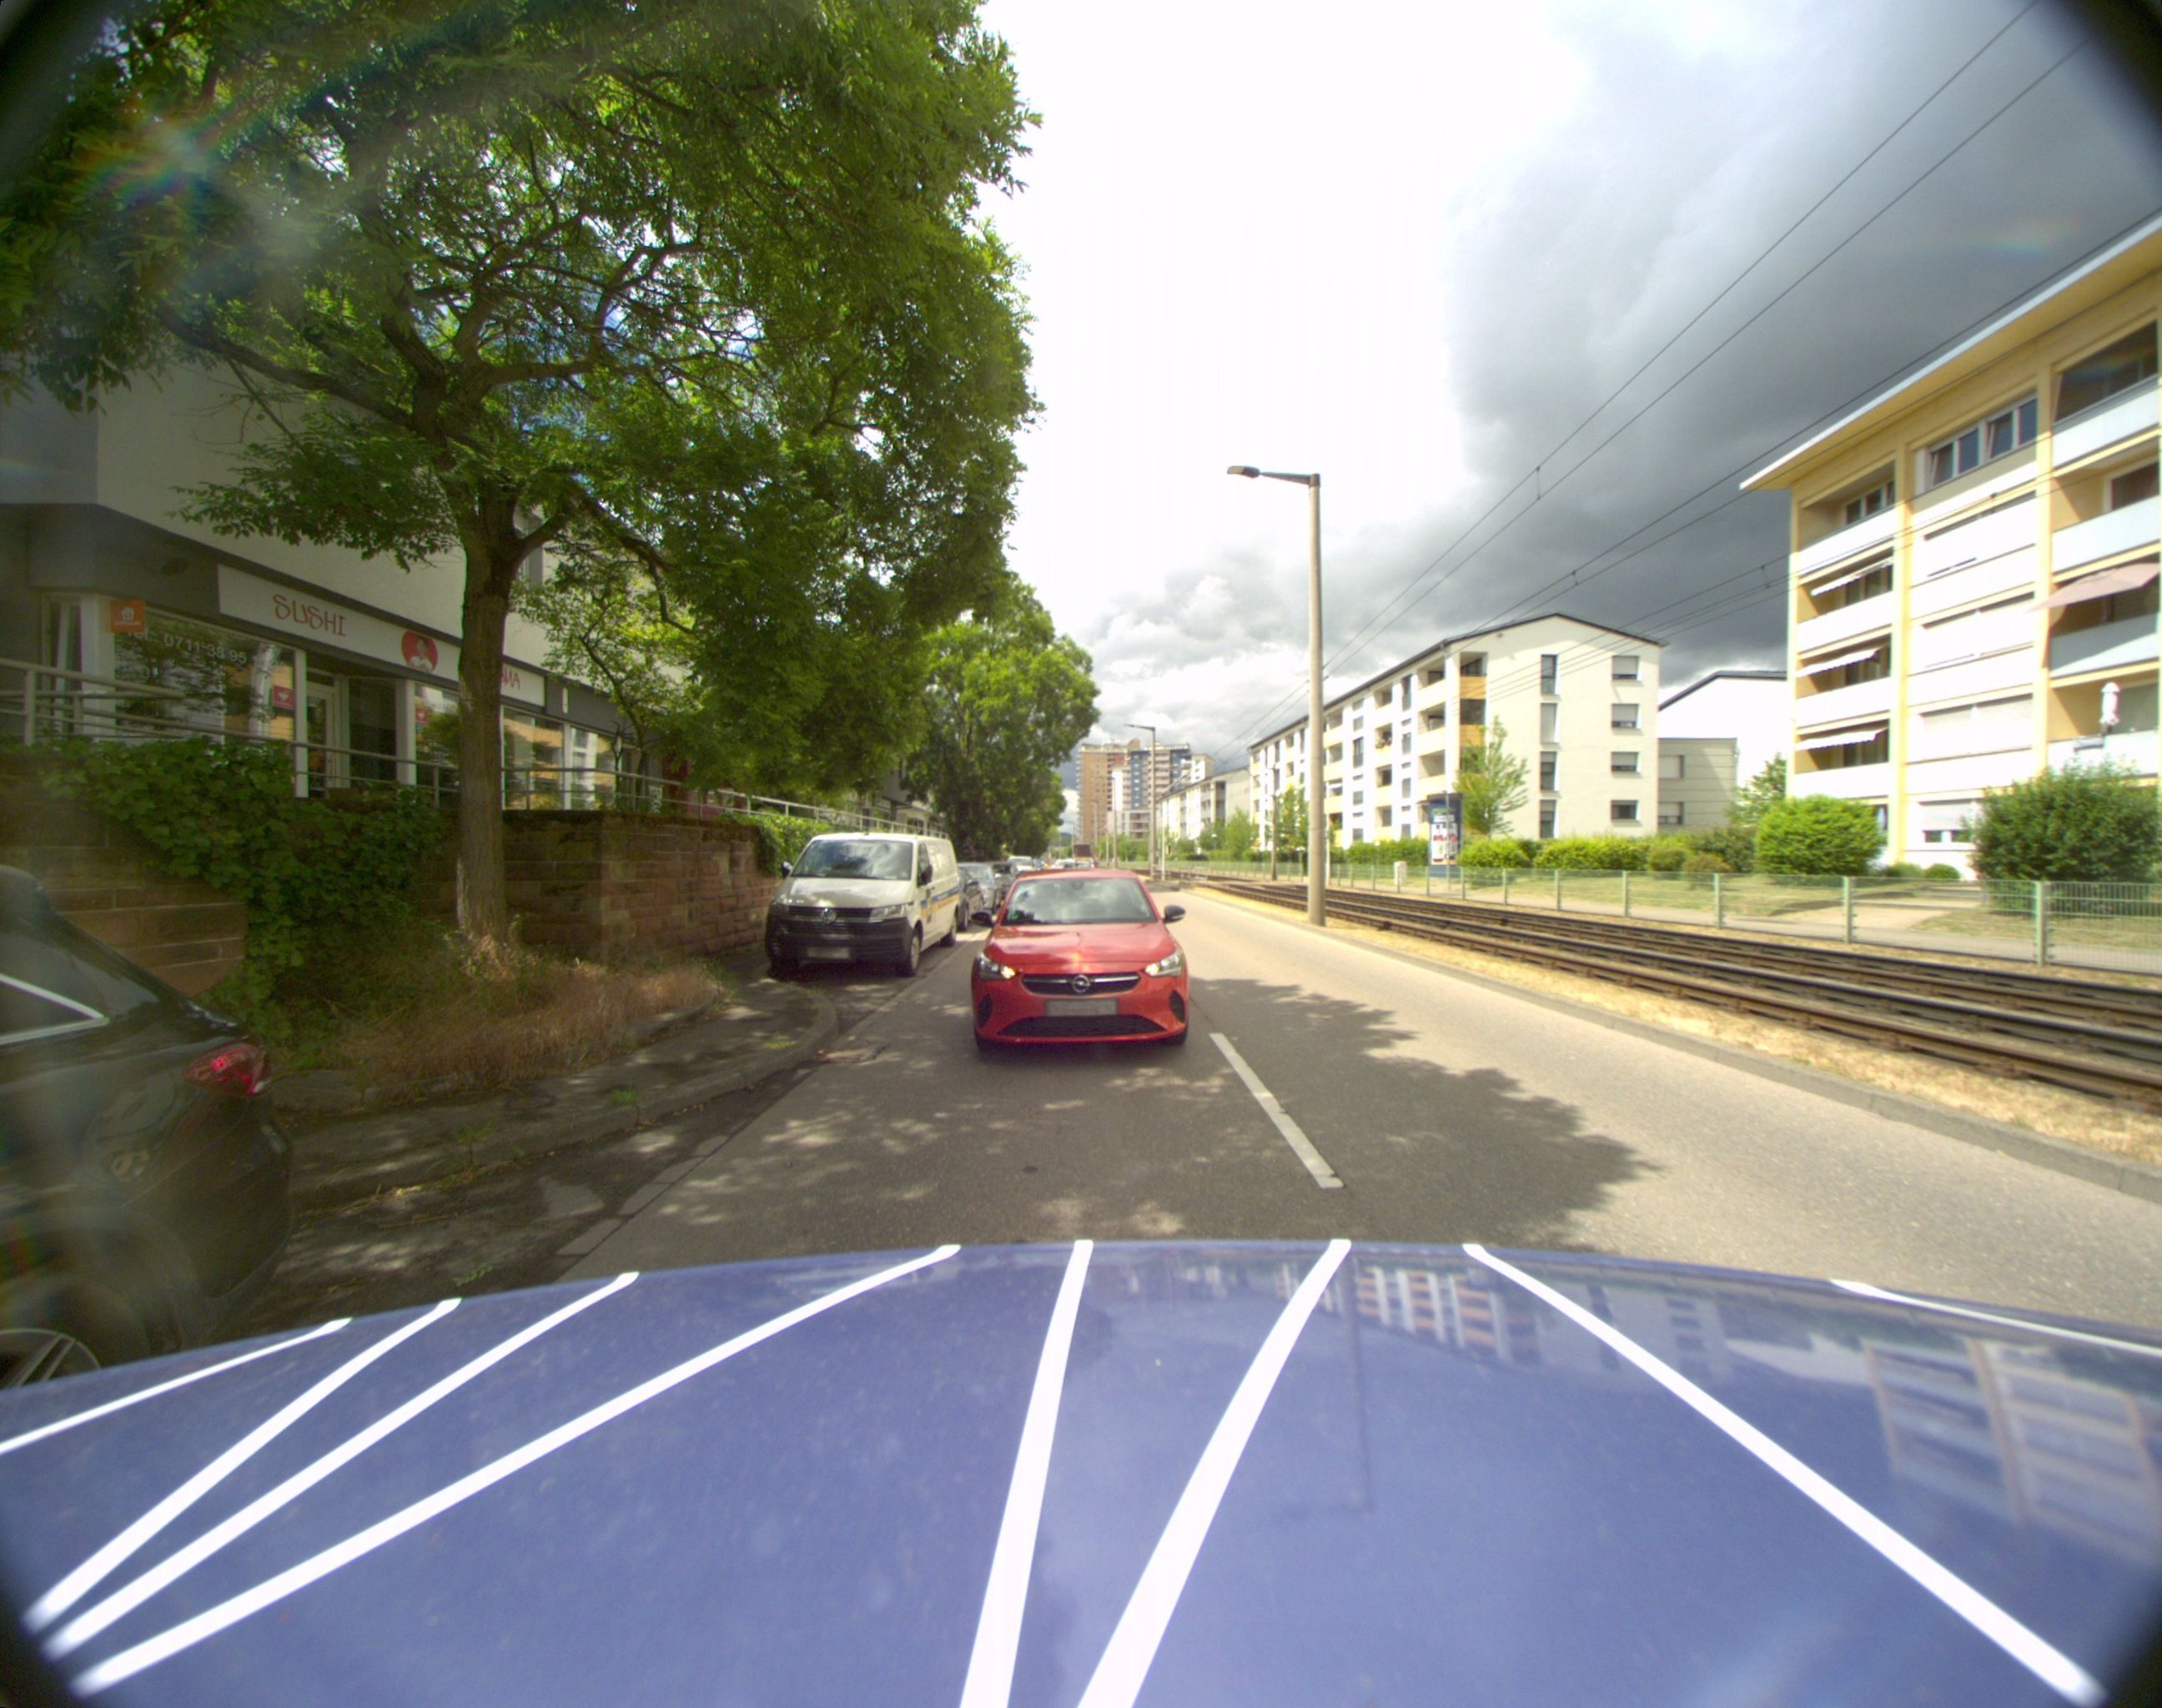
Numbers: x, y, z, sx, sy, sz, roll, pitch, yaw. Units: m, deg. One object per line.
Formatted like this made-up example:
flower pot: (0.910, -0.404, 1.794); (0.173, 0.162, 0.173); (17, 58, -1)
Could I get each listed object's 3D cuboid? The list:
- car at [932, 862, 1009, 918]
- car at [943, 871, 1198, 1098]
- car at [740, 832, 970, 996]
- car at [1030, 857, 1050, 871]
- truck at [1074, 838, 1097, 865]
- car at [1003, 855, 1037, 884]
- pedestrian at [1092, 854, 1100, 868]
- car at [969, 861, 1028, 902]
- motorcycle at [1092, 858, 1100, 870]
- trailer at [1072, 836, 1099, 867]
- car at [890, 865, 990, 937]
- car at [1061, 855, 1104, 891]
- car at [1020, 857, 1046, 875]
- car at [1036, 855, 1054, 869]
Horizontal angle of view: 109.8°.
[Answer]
car: (-3.178, 1.000, 22.638); (1.785, 1.420, 4.144); (2, 0, -2)
car: (-0.034, 0.955, 7.290); (1.723, 1.434, 4.000); (-2, 0, 1)
car: (-3.093, 0.721, 11.687); (1.978, 1.958, 5.013); (-1, 0, 0)
car: (-4.237, 0.995, 78.971); (1.784, 1.420, 4.147); (-1, 0, 0)
truck: (0.579, -0.326, 102.067); (2.852, 3.428, 4.415); (-2, 0, 0)
car: (-3.548, 0.864, 44.960); (1.819, 1.643, 4.146); (-1, 0, -2)
pedestrian: (1.509, 0.704, 77.492); (0.737, 1.408, 0.927); (-2, 1, -1)
car: (-3.146, 1.018, 29.616); (1.784, 1.420, 4.147); (-1, 0, 0)
motorcycle: (1.520, 1.052, 77.535); (0.783, 1.181, 1.869); (-1, 0, -1)
trailer: (0.538, -0.302, 93.664); (2.875, 3.428, 14.615); (-2, 0, 0)
car: (-3.145, 1.005, 17.652); (1.578, 1.420, 3.734); (-1, 0, 0)
car: (0.027, 0.868, 36.517); (1.927, 1.543, 3.999); (-2, 0, -1)
car: (-3.895, 0.965, 61.964); (1.784, 1.420, 4.147); (-1, 0, 0)
car: (-4.063, 0.891, 86.054); (1.784, 1.420, 4.147); (-1, 0, 0)
